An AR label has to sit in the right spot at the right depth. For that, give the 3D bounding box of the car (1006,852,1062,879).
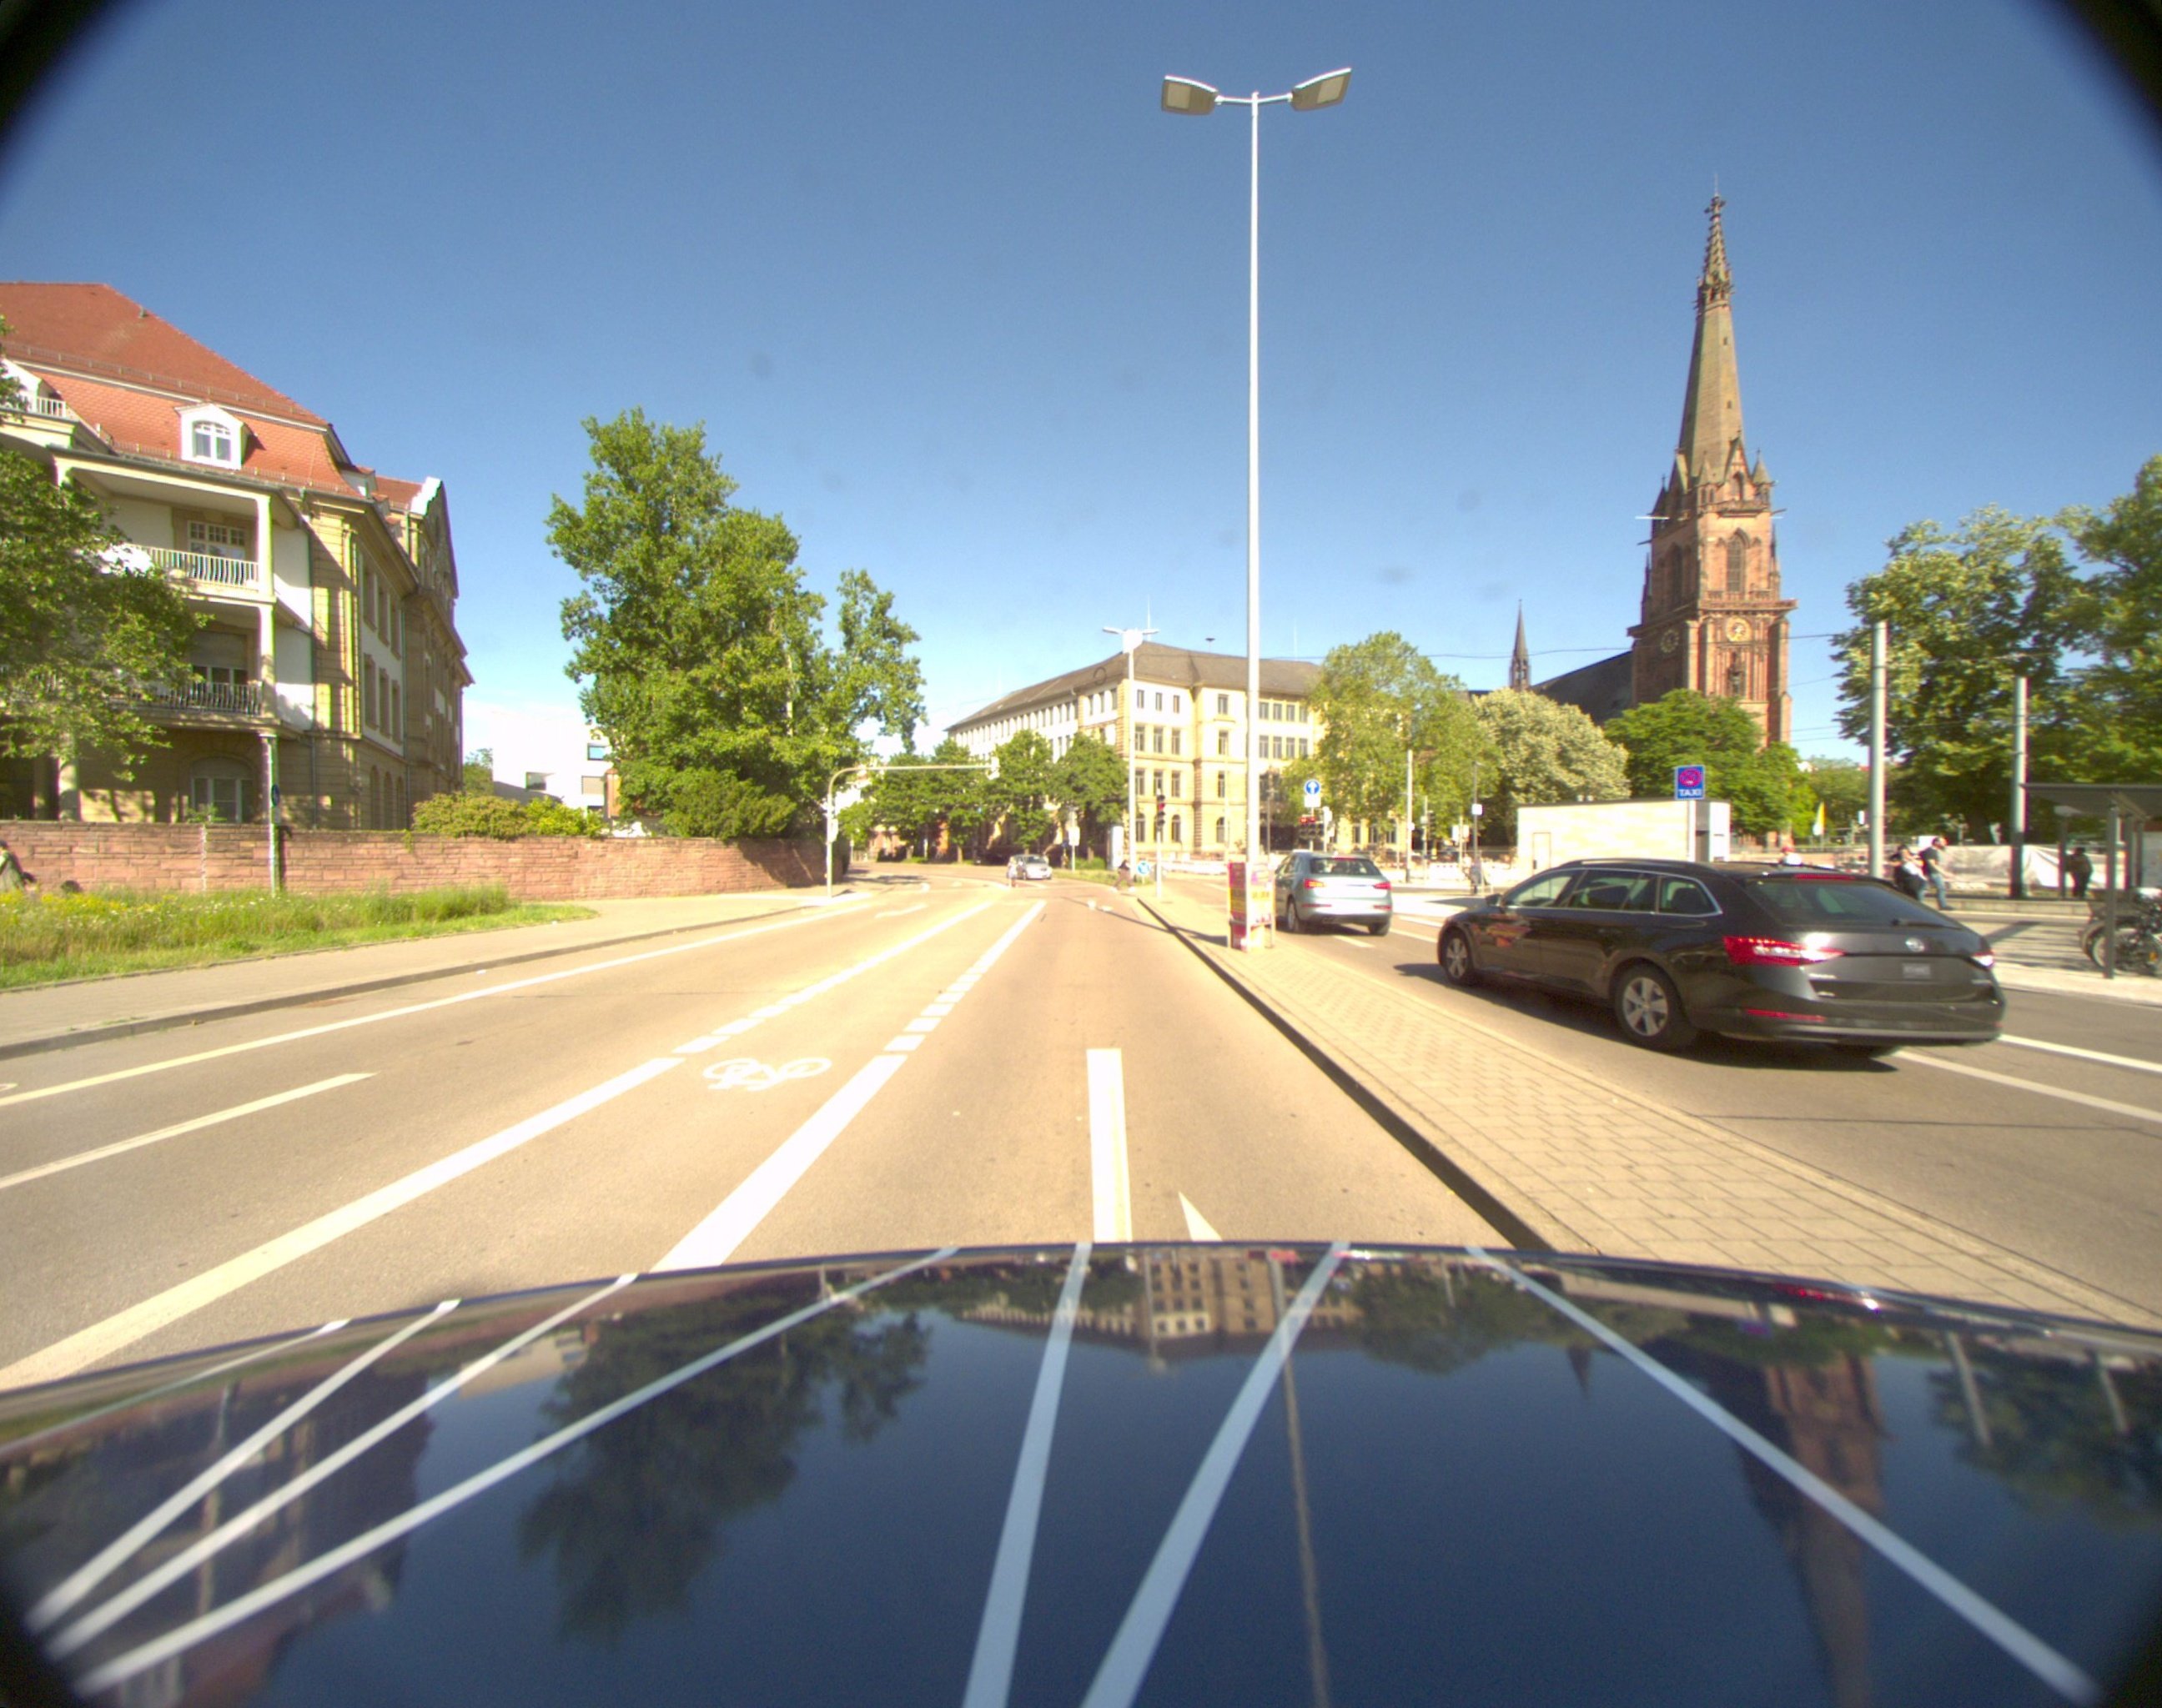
[{"bbox_3d":[-3.106,0.726,49.073,2.002,1.580,4.842,-3,1,-24],"label":"car"}]

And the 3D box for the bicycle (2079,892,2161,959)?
[{"bbox_3d":[17.183,1.146,12.010,0.407,0.993,1.679,-3,2,-33],"label":"bicycle"}]

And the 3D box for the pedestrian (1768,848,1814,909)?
[{"bbox_3d":[19.097,0.635,20.444,0.621,1.613,0.701,-1,1,-27],"label":"pedestrian"}]

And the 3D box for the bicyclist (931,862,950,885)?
[{"bbox_3d":[-9.939,1.363,53.719,1.141,1.531,0.684,0,1,36],"label":"bicyclist"}]

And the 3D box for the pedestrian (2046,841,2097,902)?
[{"bbox_3d":[30.563,0.528,23.461,0.619,1.849,0.703,0,1,11],"label":"pedestrian"}]

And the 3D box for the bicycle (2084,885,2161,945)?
[{"bbox_3d":[19.026,1.088,13.335,0.407,0.993,1.679,-3,2,-33],"label":"bicycle"}]

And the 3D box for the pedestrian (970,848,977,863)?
[{"bbox_3d":[-14.230,0.215,100.328,0.578,1.893,0.849,-1,1,-36],"label":"pedestrian"}]

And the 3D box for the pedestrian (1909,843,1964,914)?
[{"bbox_3d":[21.256,0.594,18.893,0.622,1.717,0.831,-1,1,-36],"label":"pedestrian"}]

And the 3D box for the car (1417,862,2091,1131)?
[{"bbox_3d":[5.090,0.885,6.939,1.818,1.496,4.783,2,0,-1],"label":"car"}]

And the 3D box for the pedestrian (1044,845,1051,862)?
[{"bbox_3d":[-3.812,-0.064,86.507,0.557,2.002,0.645,-1,1,-37],"label":"pedestrian"}]

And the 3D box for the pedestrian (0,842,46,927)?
[{"bbox_3d":[-23.466,0.653,16.640,0.789,1.847,0.629,-1,1,-39],"label":"pedestrian"}]

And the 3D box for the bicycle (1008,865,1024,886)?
[{"bbox_3d":[-3.426,1.123,39.723,0.741,0.989,2.305,-2,1,-6],"label":"bicycle"}]

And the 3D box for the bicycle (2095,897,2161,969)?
[{"bbox_3d":[16.126,1.187,10.997,0.407,0.993,1.678,-3,3,-33],"label":"bicycle"}]

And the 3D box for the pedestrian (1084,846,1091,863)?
[{"bbox_3d":[0.667,0.029,77.808,0.540,1.710,0.545,-1,1,-37],"label":"pedestrian"}]

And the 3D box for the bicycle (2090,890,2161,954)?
[{"bbox_3d":[17.962,1.142,12.457,0.407,0.993,1.679,-3,2,-33],"label":"bicycle"}]

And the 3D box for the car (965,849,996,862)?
[{"bbox_3d":[-11.972,0.142,90.490,1.839,1.587,3.989,-1,1,-37],"label":"car"}]

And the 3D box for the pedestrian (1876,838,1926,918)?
[{"bbox_3d":[19.587,0.556,18.150,0.703,1.849,0.619,-1,1,-26],"label":"pedestrian"}]

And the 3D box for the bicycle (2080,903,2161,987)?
[{"bbox_3d":[13.983,1.192,9.549,0.407,0.993,1.678,-3,3,-33],"label":"bicycle"}]

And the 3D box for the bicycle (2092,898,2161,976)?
[{"bbox_3d":[15.028,1.170,10.206,0.407,0.993,1.678,-3,3,-33],"label":"bicycle"}]

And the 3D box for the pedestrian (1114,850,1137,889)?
[{"bbox_3d":[1.921,0.676,32.703,0.932,1.657,0.630,0,1,-2],"label":"pedestrian"}]

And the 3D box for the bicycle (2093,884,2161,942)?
[{"bbox_3d":[19.512,1.069,13.577,0.407,0.993,1.679,-3,2,-33],"label":"bicycle"}]

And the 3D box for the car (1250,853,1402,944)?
[{"bbox_3d":[4.815,0.783,15.583,1.792,1.572,4.258,1,0,1],"label":"car"}]

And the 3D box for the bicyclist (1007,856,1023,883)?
[{"bbox_3d":[-3.443,0.801,39.704,0.741,1.363,0.626,-2,1,-6],"label":"bicyclist"}]
